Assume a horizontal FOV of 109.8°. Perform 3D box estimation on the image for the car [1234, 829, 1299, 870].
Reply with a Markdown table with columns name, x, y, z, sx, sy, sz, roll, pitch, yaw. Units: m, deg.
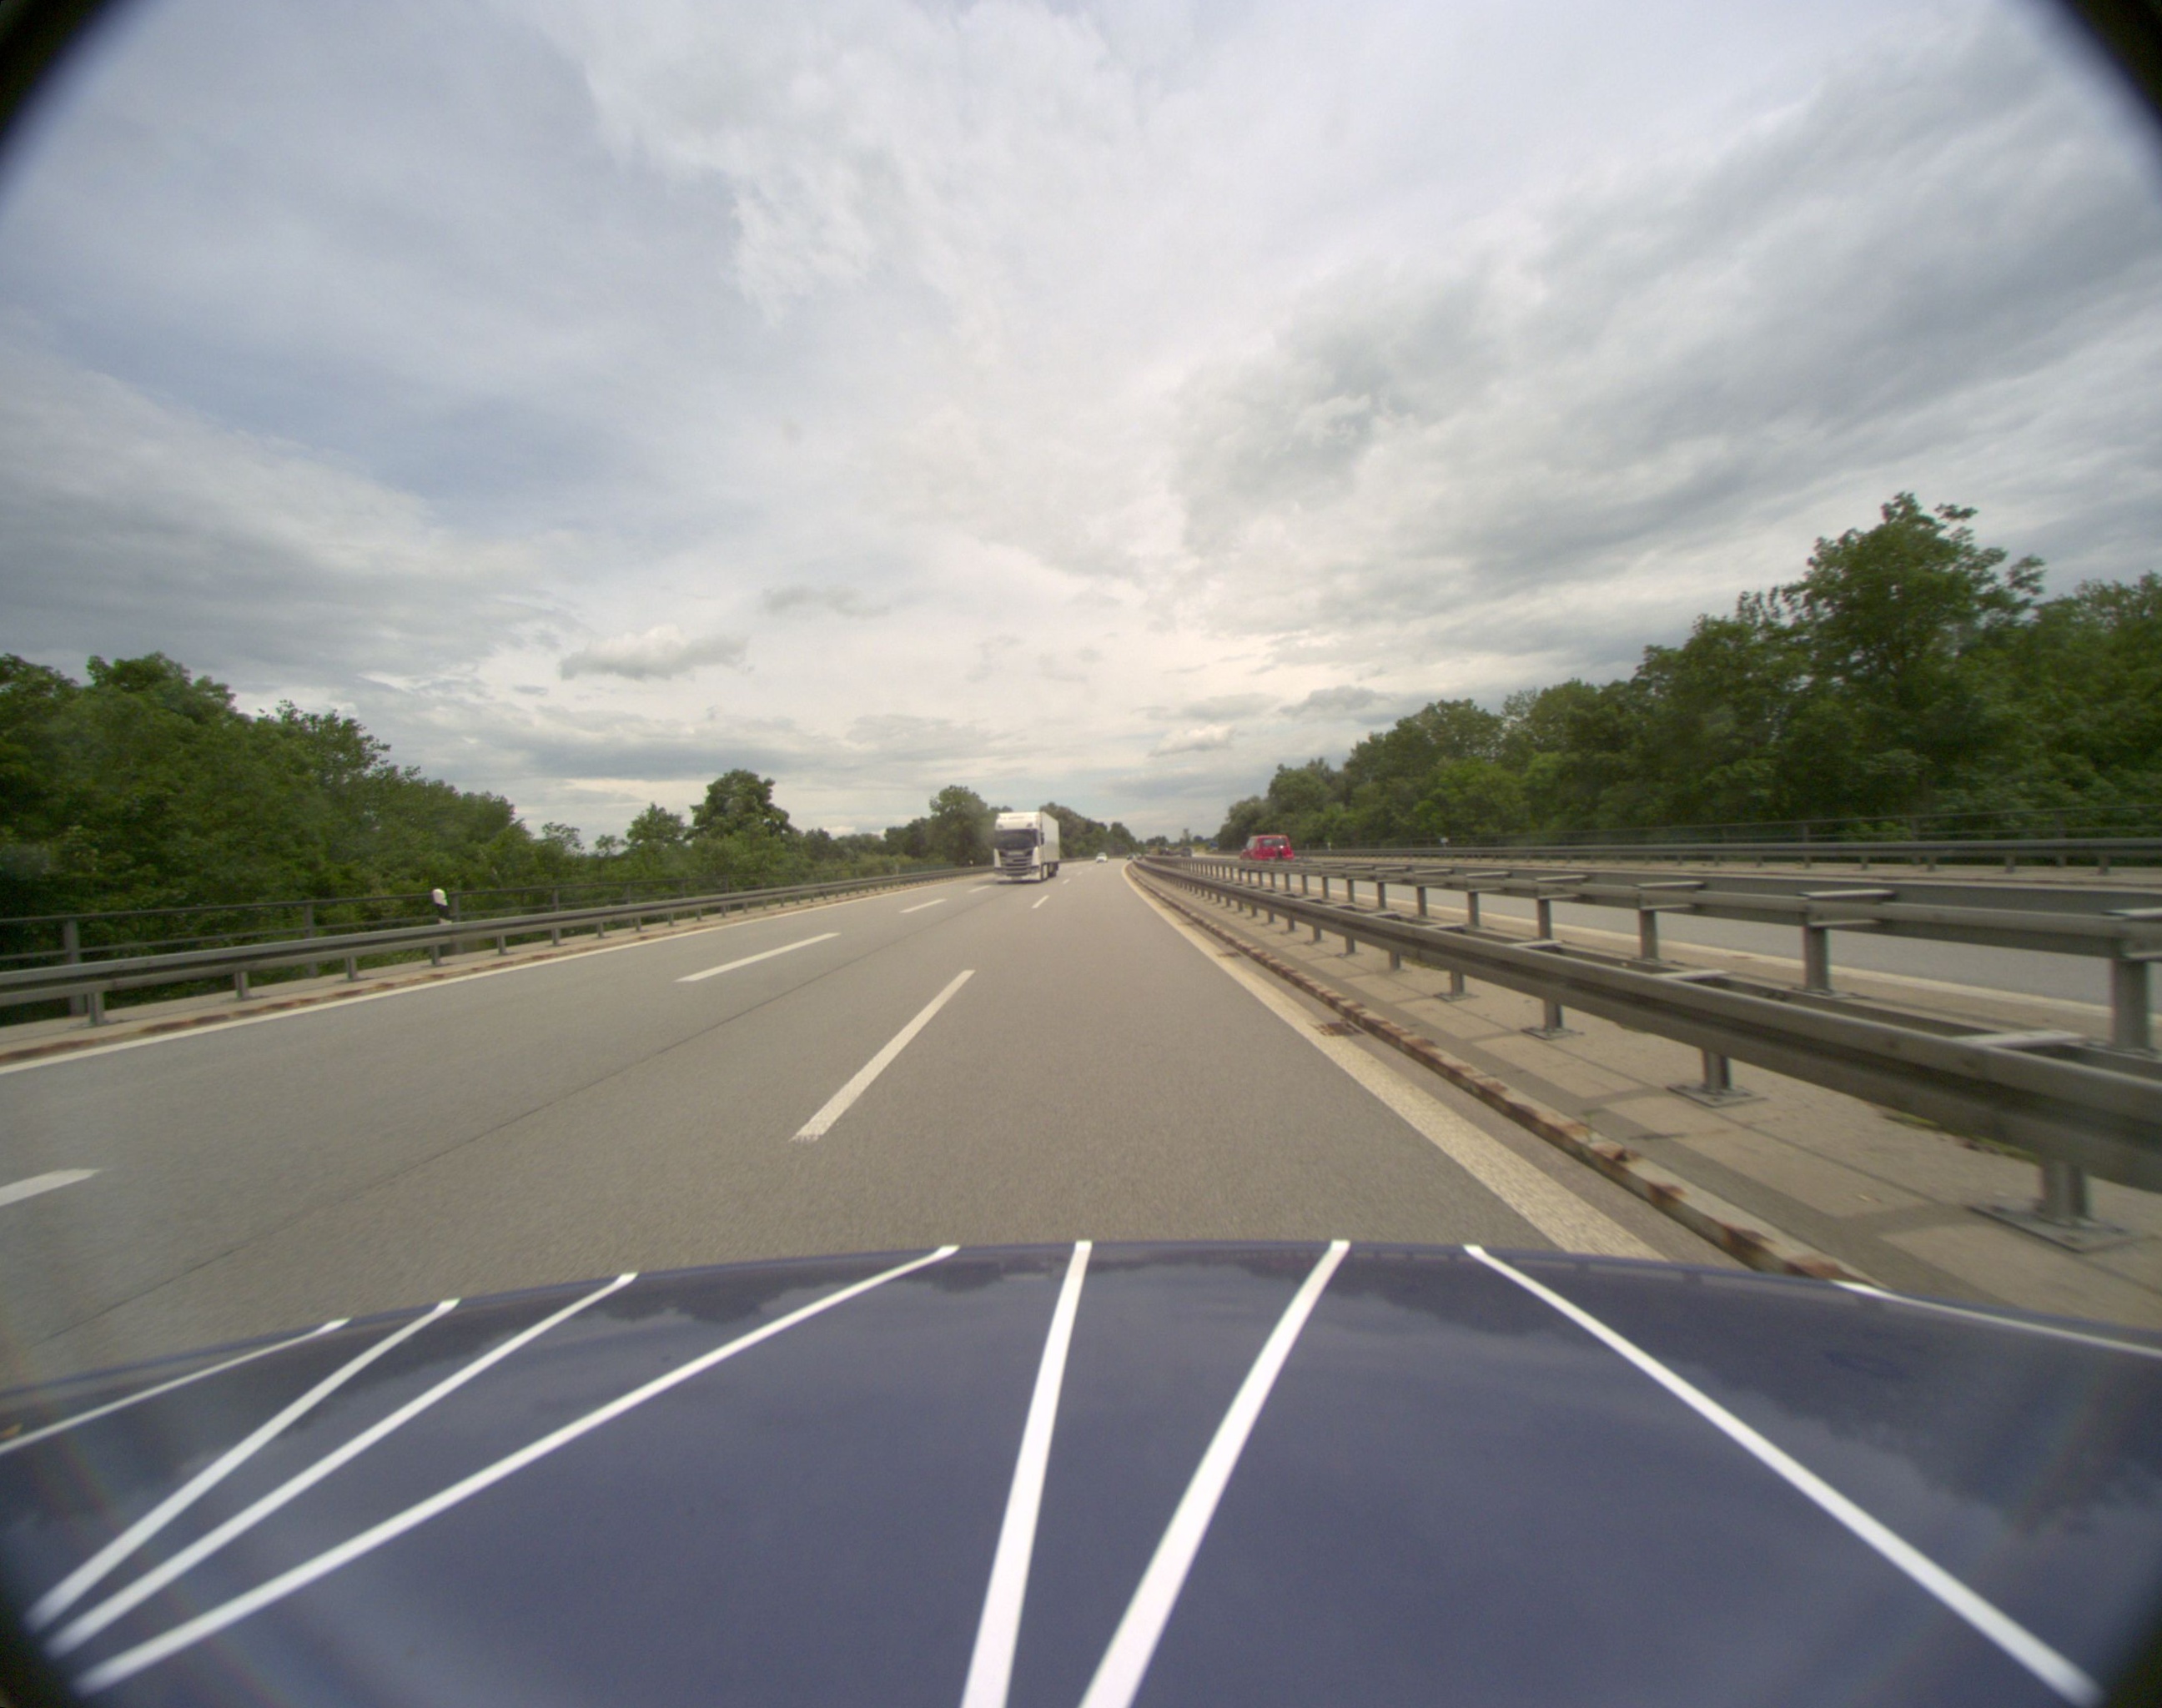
| name | x | y | z | sx | sy | sz | roll | pitch | yaw |
| --- | --- | --- | --- | --- | --- | --- | --- | --- | --- |
| car | 8.334 | -0.209 | 34.563 | 1.817 | 1.631 | 4.568 | -3 | 1 | 1 |

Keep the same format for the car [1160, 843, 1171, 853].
| name | x | y | z | sx | sy | sz | roll | pitch | yaw |
| --- | --- | --- | --- | --- | --- | --- | --- | --- | --- |
| car | 13.604 | -1.030 | 122.681 | 1.647 | 1.540 | 4.001 | -2 | 1 | 5 |

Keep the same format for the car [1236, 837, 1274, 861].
| name | x | y | z | sx | sy | sz | roll | pitch | yaw |
| --- | --- | --- | --- | --- | --- | --- | --- | --- | --- |
| car | 12.733 | -0.353 | 55.899 | 1.714 | 1.631 | 4.568 | -3 | 0 | 1 |

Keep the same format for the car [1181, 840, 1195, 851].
| name | x | y | z | sx | sy | sz | roll | pitch | yaw |
| --- | --- | --- | --- | --- | --- | --- | --- | --- | --- |
| car | 18.630 | -1.434 | 132.054 | 1.998 | 1.735 | 4.225 | -3 | 1 | 4 |

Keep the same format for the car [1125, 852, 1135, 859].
| name | x | y | z | sx | sy | sz | roll | pitch | yaw |
| --- | --- | --- | --- | --- | --- | --- | --- | --- | --- |
| car | 10.235 | 0.277 | 158.336 | 1.774 | 1.474 | 4.699 | -2 | 0 | 5 |

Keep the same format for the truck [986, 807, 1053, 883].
| name | x | y | z | sx | sy | sz | roll | pitch | yaw |
| --- | --- | --- | --- | --- | --- | --- | --- | --- | --- |
| truck | -3.359 | -0.484 | 43.211 | 3.070 | 3.869 | 6.000 | -2 | 0 | 1 |

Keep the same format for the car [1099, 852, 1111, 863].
| name | x | y | z | sx | sy | sz | roll | pitch | yaw |
| --- | --- | --- | --- | --- | --- | --- | --- | --- | --- |
| car | 4.108 | 0.570 | 129.888 | 1.775 | 1.813 | 4.165 | -3 | 0 | 2 |

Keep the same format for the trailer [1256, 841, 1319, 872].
| name | x | y | z | sx | sy | sz | roll | pitch | yaw |
| --- | --- | --- | --- | --- | --- | --- | --- | --- | --- |
| trailer | 8.230 | 0.071 | 30.542 | 1.563 | 1.118 | 3.450 | -2 | 1 | 1 |

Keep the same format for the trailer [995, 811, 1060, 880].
| name | x | y | z | sx | sy | sz | roll | pitch | yaw |
| --- | --- | --- | --- | --- | --- | --- | --- | --- | --- |
| trailer | -3.254 | -0.508 | 50.487 | 3.070 | 3.868 | 13.789 | -2 | 0 | 1 |
